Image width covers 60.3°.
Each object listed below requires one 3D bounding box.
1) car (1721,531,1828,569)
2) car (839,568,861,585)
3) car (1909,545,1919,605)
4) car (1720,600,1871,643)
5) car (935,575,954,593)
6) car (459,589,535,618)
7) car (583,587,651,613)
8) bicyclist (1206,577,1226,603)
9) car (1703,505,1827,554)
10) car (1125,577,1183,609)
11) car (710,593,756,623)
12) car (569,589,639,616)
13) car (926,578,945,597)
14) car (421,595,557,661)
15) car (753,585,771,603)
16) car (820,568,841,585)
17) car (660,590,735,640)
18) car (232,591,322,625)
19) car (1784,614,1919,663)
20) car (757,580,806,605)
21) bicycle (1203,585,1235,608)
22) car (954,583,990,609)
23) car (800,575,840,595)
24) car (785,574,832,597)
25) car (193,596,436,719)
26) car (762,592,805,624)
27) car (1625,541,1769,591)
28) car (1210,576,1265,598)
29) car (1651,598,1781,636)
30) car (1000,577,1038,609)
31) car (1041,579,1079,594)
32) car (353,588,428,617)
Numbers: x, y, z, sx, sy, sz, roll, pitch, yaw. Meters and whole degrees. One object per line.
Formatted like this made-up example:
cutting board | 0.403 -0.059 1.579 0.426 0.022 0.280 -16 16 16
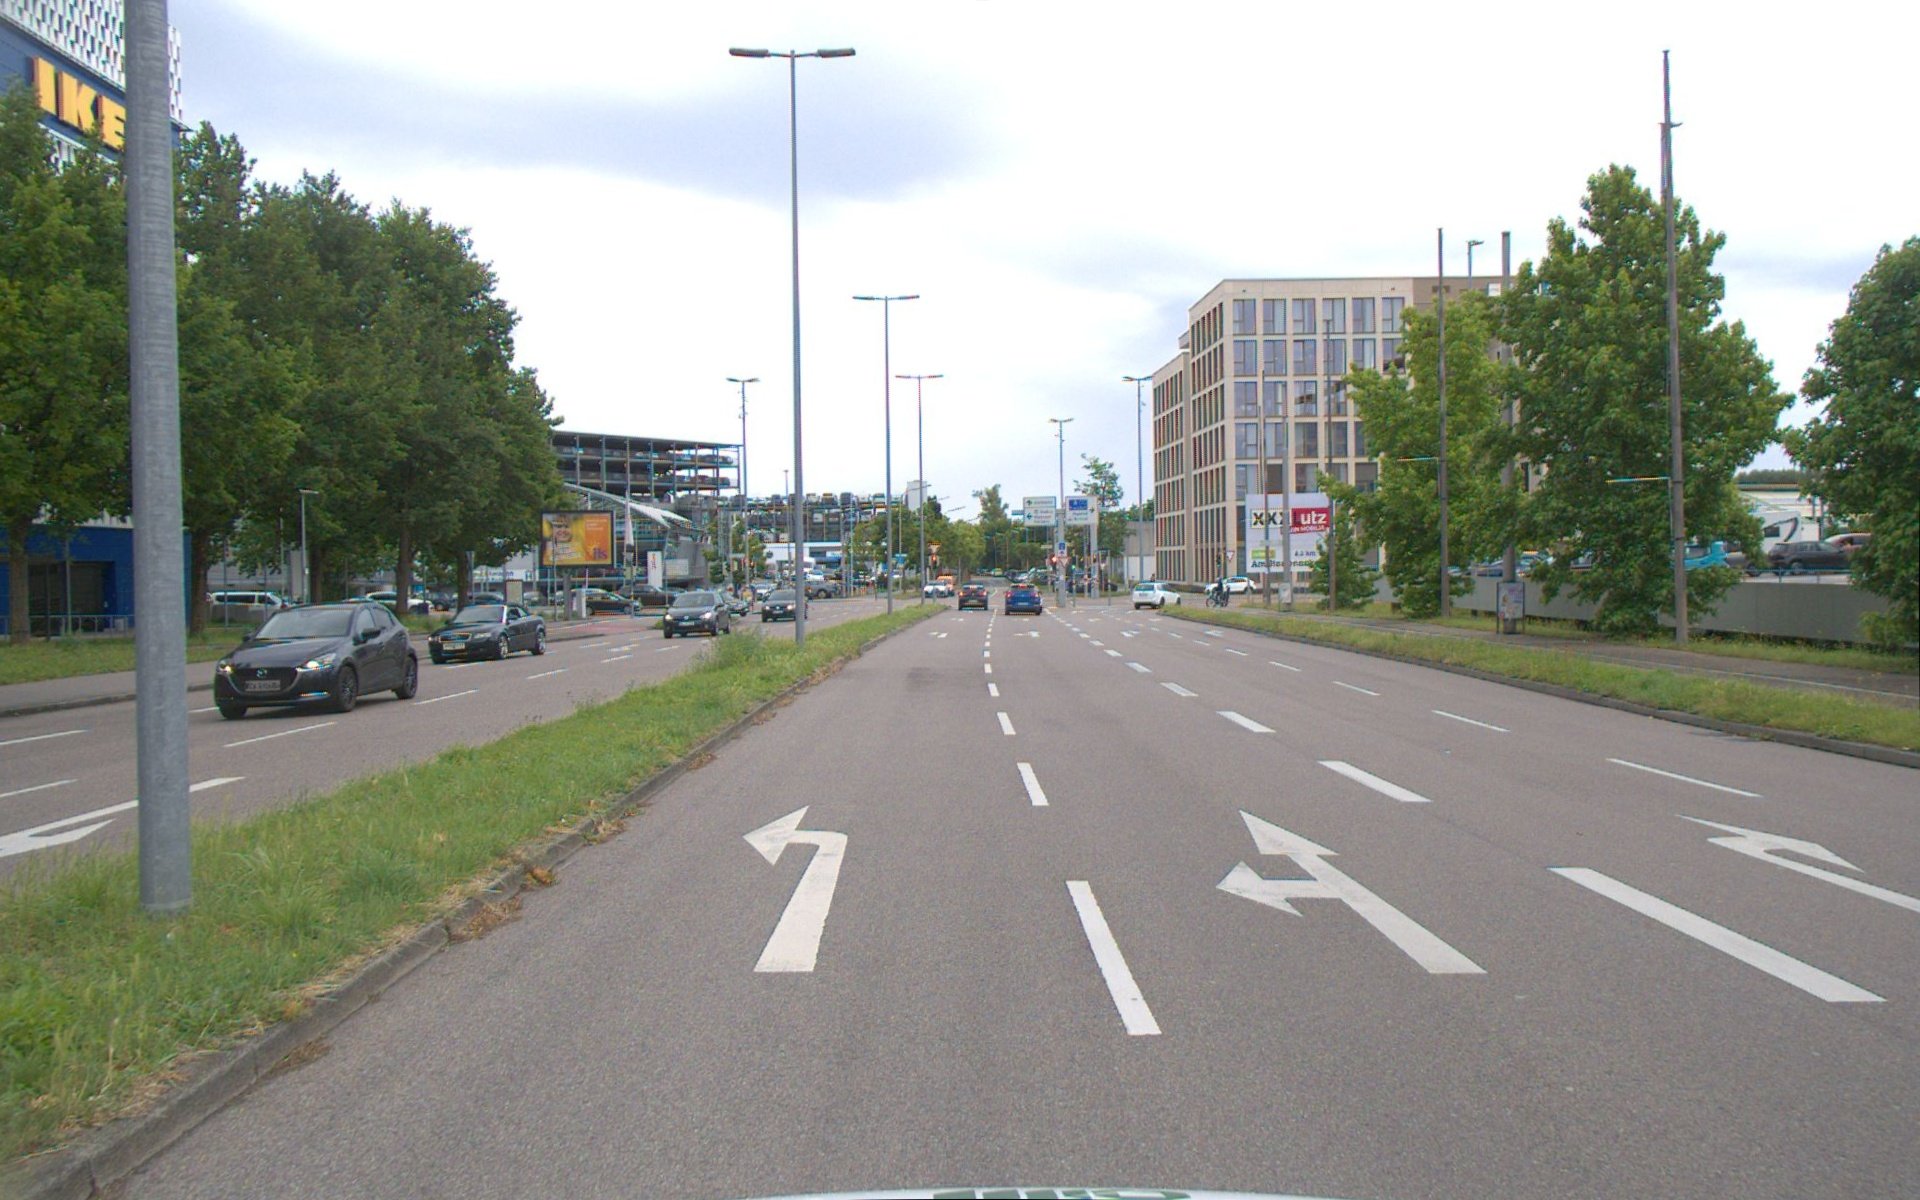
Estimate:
car | 35.264 -2.153 71.699 3.762 1.534 1.785 -1 2 3
car | -12.241 -2.633 183.997 1.738 1.735 3.920 -1 3 6
car | 23.165 -0.574 36.640 3.445 1.330 1.605 -1 2 -6
car | 23.144 0.583 45.888 3.442 1.151 1.516 0 0 0
car | -1.417 -1.469 151.879 1.567 1.478 3.325 -1 3 1
car | -30.420 0.227 108.679 4.456 1.688 1.998 -2 1 -6
car | -23.981 -0.029 115.853 4.313 1.672 2.000 -1 2 -1
bicyclist | 15.022 -0.602 97.154 0.694 1.530 0.988 -1 1 -35
car | 38.794 -3.389 79.806 4.906 2.249 2.167 -1 2 4
car | 11.499 -0.424 98.043 1.956 1.782 4.173 -1 1 29
car | -12.799 0.443 93.441 1.754 1.505 4.533 -2 1 2
car | -23.500 0.172 109.318 4.331 1.689 1.997 -1 0 -6
car | -2.108 -1.086 143.745 1.567 1.478 3.325 -1 3 1
car | -11.665 0.655 41.263 1.734 1.477 4.408 -3 0 5
car | -16.173 -0.503 135.039 1.346 1.349 3.028 -1 3 -9
car | -14.387 -2.602 183.976 1.738 1.735 3.920 -1 3 6
car | -8.608 0.460 54.515 1.744 1.481 4.182 -3 1 0
car | -44.581 0.542 108.025 5.030 1.997 1.880 -1 4 -4
car | 22.683 0.957 41.336 3.442 1.151 1.455 0 0 0
car | -13.537 -0.566 125.532 3.604 1.802 1.744 -1 2 -5
bicycle | 15.172 -0.192 96.989 0.694 1.318 1.986 -1 1 -35
car | 0.650 -0.192 95.779 1.947 1.453 4.240 -1 0 -1
car | -12.721 -1.389 150.684 3.534 1.696 1.548 -1 2 -4
car | -12.789 -1.223 139.887 3.908 1.821 1.846 -1 2 -4
car | -8.998 0.740 23.424 1.721 1.478 4.001 -2 1 2
car | -8.384 0.365 78.755 1.893 1.481 4.179 -1 1 -4
car | 24.322 -1.129 54.633 3.987 1.551 1.811 -1 2 -4
car | 21.744 -1.050 129.683 3.874 1.595 1.754 -1 2 -13
car | 27.743 0.616 60.751 3.970 1.374 1.764 0 0 0
car | 2.944 -0.354 83.260 1.797 1.541 4.000 -1 1 0
car | 10.336 -1.435 170.894 3.529 1.504 1.760 0 3 21
car | -38.412 0.154 111.579 4.346 1.740 1.999 -1 4 -5
